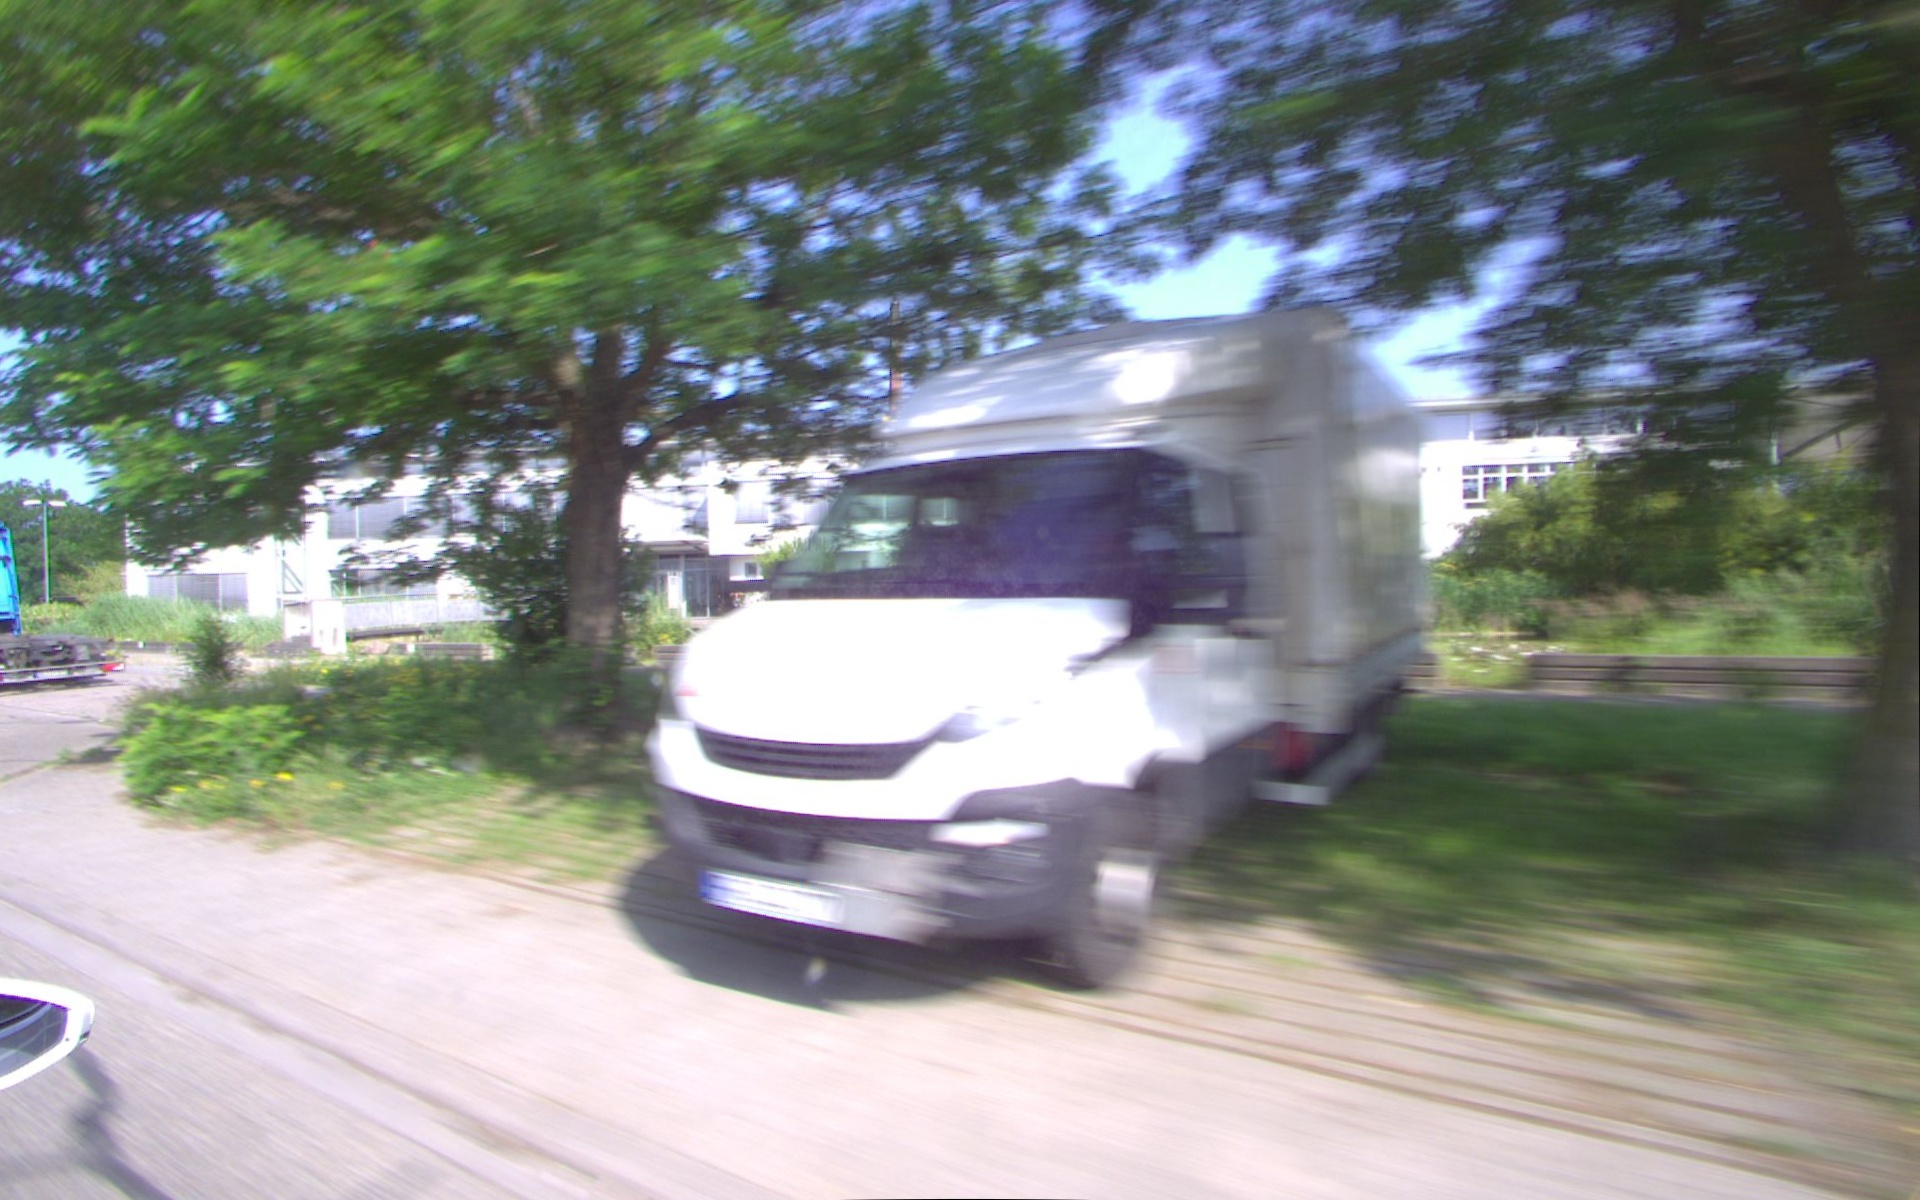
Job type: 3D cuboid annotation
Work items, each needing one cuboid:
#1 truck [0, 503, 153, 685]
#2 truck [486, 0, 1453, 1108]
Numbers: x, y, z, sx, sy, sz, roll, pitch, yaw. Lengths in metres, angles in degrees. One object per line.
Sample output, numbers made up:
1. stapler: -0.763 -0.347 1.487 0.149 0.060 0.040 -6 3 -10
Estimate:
1. truck: -22.443 -0.025 23.225 9.622 3.584 2.878 -2 3 34
2. truck: 1.406 -0.360 6.864 2.702 3.414 8.191 -2 0 32
